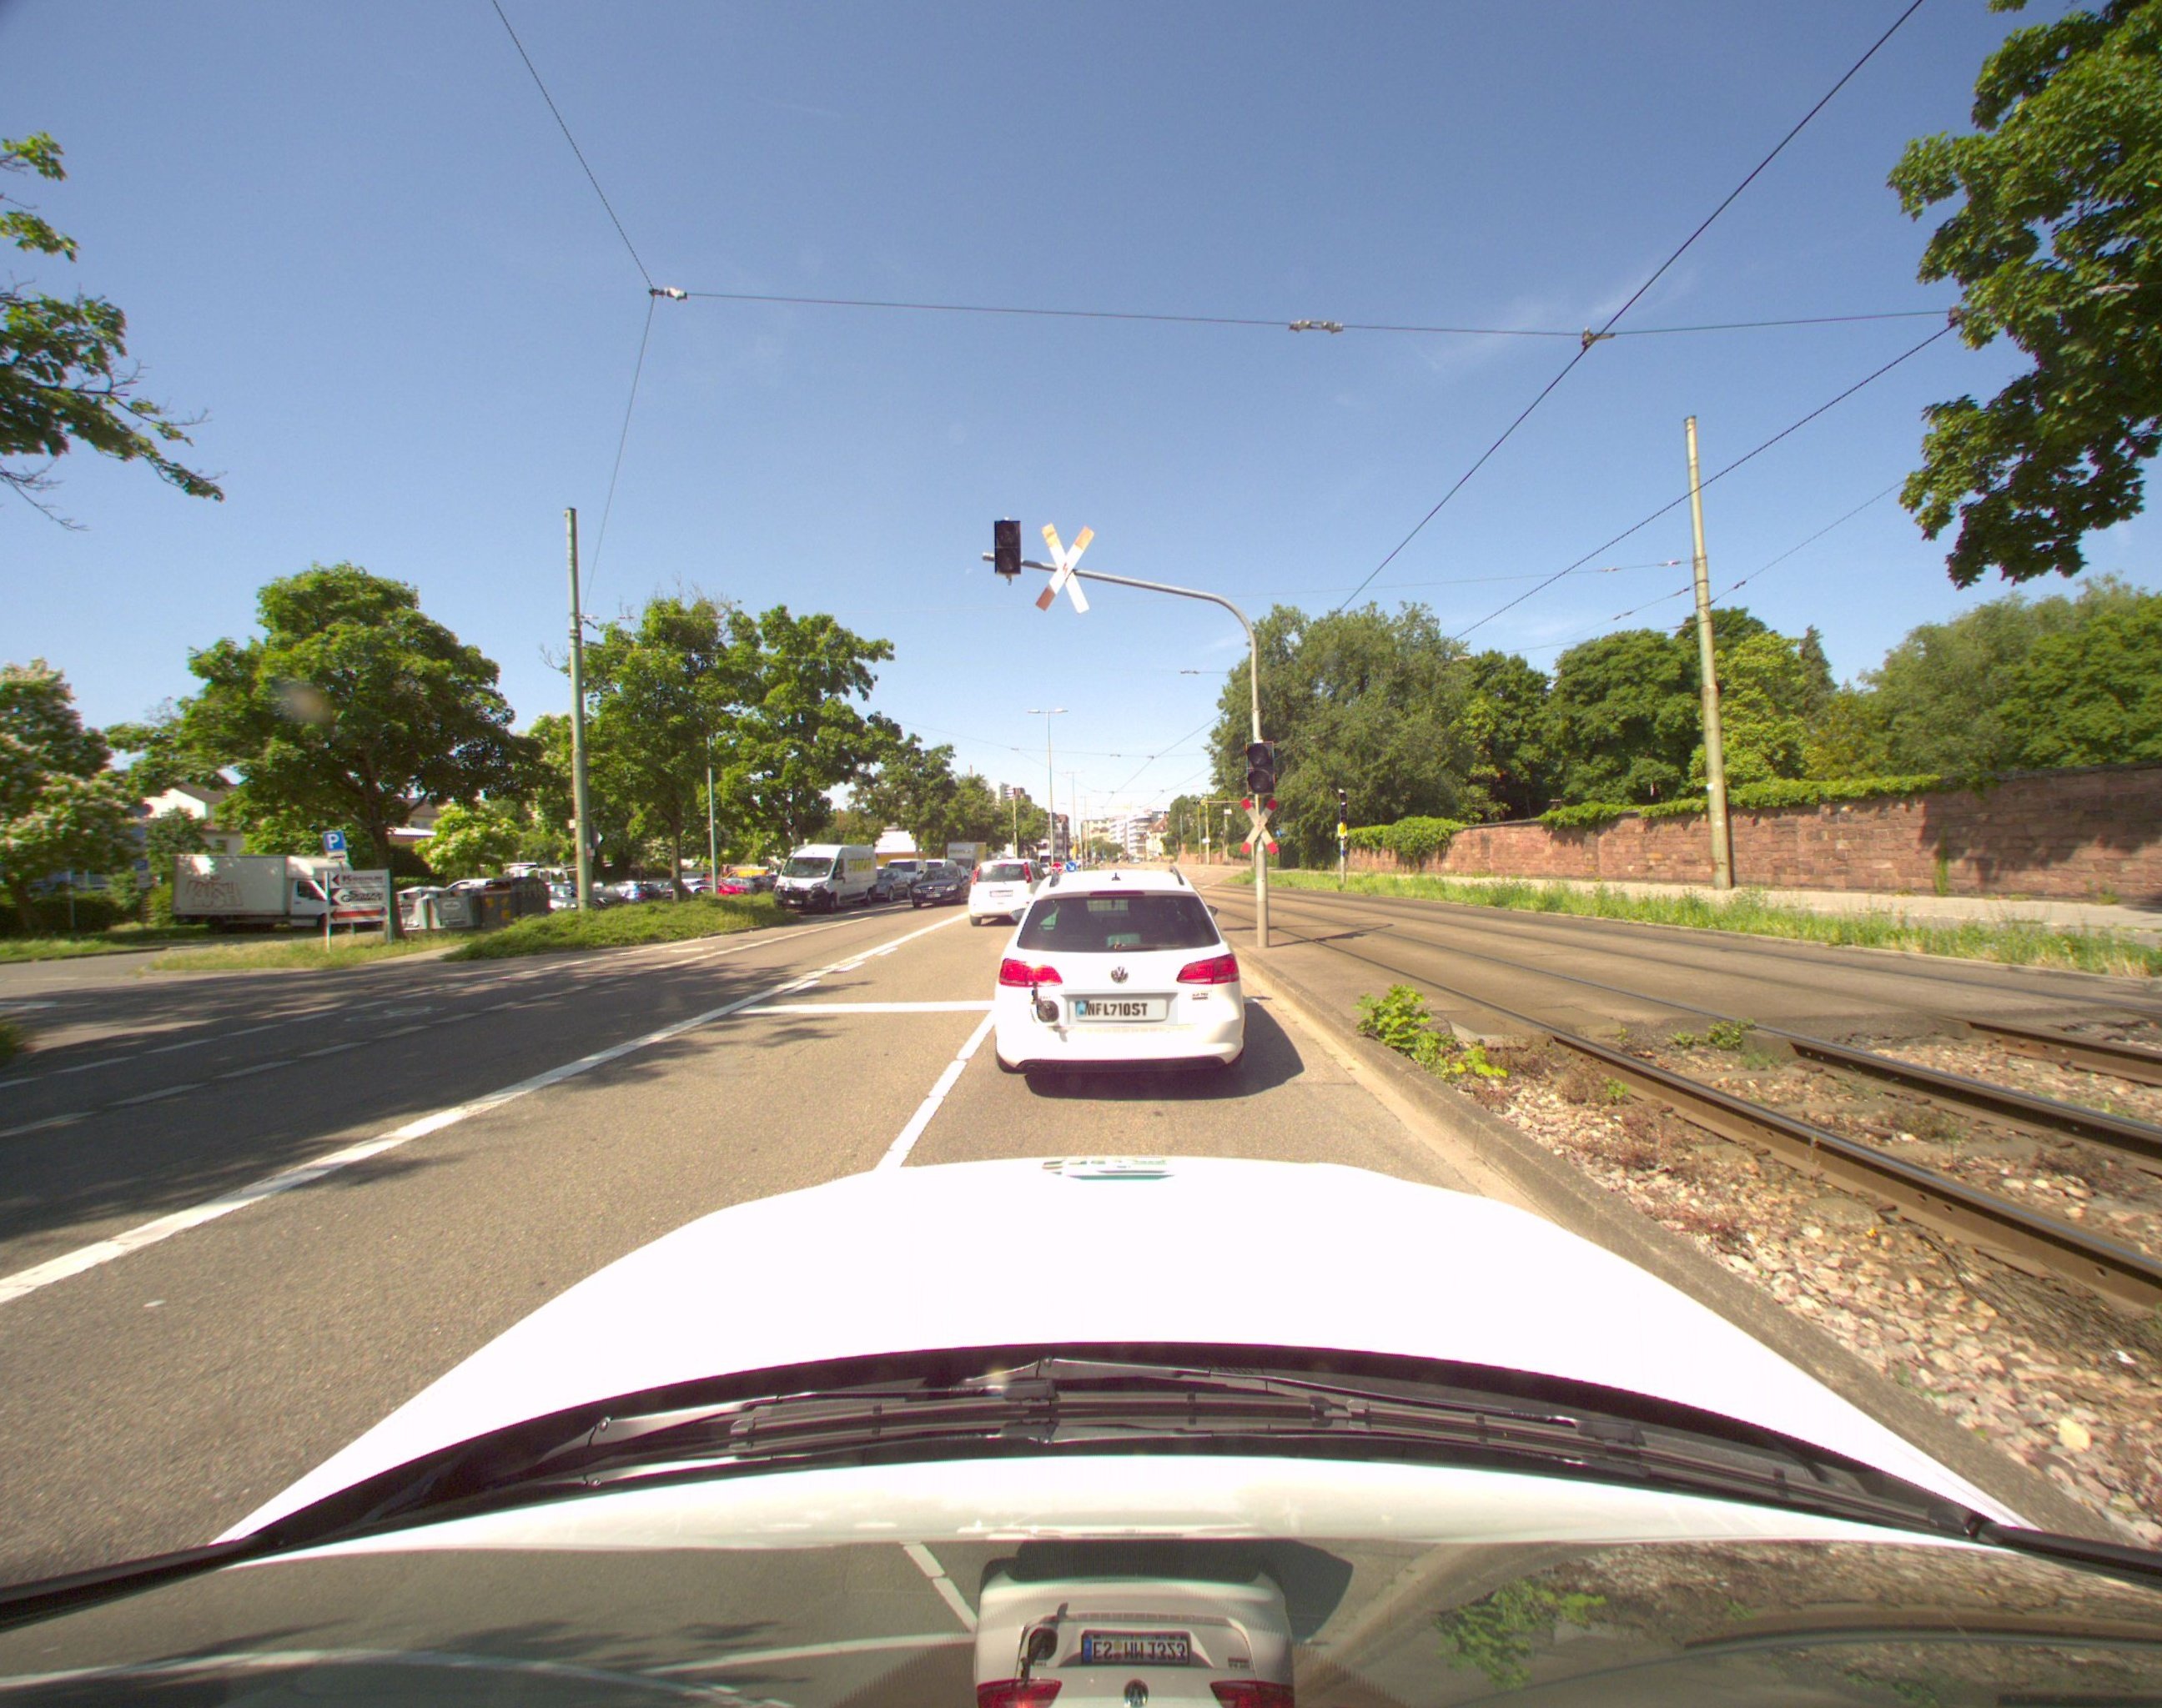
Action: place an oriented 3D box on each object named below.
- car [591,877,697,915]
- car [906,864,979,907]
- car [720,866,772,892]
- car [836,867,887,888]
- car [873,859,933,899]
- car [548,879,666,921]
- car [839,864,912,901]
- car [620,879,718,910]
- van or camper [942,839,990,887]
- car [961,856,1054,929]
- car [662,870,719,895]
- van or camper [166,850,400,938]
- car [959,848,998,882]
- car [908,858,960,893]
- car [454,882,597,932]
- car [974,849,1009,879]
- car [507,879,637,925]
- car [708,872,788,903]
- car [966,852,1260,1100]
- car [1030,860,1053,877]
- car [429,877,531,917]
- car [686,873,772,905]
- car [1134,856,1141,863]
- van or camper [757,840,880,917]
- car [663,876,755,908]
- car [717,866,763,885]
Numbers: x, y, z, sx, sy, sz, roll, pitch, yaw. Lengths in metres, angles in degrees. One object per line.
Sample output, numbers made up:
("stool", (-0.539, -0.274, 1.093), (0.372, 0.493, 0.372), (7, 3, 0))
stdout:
("car", (-20.336, 1.936, 37.994), (3.973, 1.544, 1.664), (-3, -1, 1))
("car", (-5.116, 1.135, 30.661), (1.778, 1.409, 4.307), (-3, 0, 2))
("car", (-31.258, 2.318, 76.166), (3.977, 2.200, 1.909), (-3, -1, -2))
("car", (-19.604, 2.106, 72.743), (3.975, 1.694, 1.663), (-3, -1, -1))
("car", (-9.440, 1.284, 43.728), (2.190, 1.941, 5.180), (-3, 0, -2))
("car", (-20.165, 1.933, 34.722), (3.974, 1.544, 1.663), (-3, -1, -1))
("car", (-9.313, 1.272, 37.377), (1.925, 1.454, 4.887), (-3, 0, 2))
("car", (-20.350, 1.977, 40.329), (3.902, 1.271, 1.664), (-3, -1, 1))
("van or camper", (-8.238, 0.645, 59.004), (2.187, 3.241, 6.777), (-1, 0, 3))
("car", (-1.706, 0.870, 20.236), (1.723, 1.596, 4.013), (-2, 0, 2))
("car", (-34.095, 2.471, 71.227), (3.977, 2.003, 1.909), (-3, 0, -2))
("van or camper", (-32.617, 1.578, 33.478), (6.928, 3.244, 2.581), (-2, -1, -1))
("car", (-8.351, 0.852, 66.945), (2.187, 2.668, 6.082), (-1, 0, 2))
("car", (-9.091, 1.275, 50.730), (2.189, 1.941, 5.184), (-3, 0, 0))
("car", (-20.064, 1.899, 29.520), (3.974, 1.544, 1.663), (-3, -1, -1))
("car", (-8.038, 0.872, 73.659), (2.187, 2.630, 5.982), (-1, 0, 2))
("car", (-19.977, 1.860, 32.059), (3.974, 1.544, 1.663), (-3, -1, -1))
("car", (-19.727, 1.973, 48.358), (3.973, 1.544, 1.664), (-3, -1, 1))
("car", (0.273, 0.735, 6.842), (1.772, 1.490, 3.849), (0, 0, 2))
("car", (-3.690, 1.360, 76.666), (1.721, 1.465, 4.002), (-3, 0, 2))
("car", (-31.921, 2.265, 43.318), (3.977, 1.891, 1.784), (-2, 0, -2))
("car", (-19.665, 1.942, 45.589), (3.973, 1.544, 1.664), (-3, 0, 1))
("car", (18.093, 1.712, 261.754), (2.118, 2.013, 5.285), (-3, 0, 2))
("van or camper", (-9.759, 0.856, 30.972), (2.248, 2.514, 6.152), (-3, 0, 3))
("car", (-19.622, 1.997, 43.023), (3.973, 1.409, 1.732), (-3, 0, 1))
("car", (-43.639, 2.739, 104.380), (4.915, 2.174, 2.099), (-3, -1, -2))
